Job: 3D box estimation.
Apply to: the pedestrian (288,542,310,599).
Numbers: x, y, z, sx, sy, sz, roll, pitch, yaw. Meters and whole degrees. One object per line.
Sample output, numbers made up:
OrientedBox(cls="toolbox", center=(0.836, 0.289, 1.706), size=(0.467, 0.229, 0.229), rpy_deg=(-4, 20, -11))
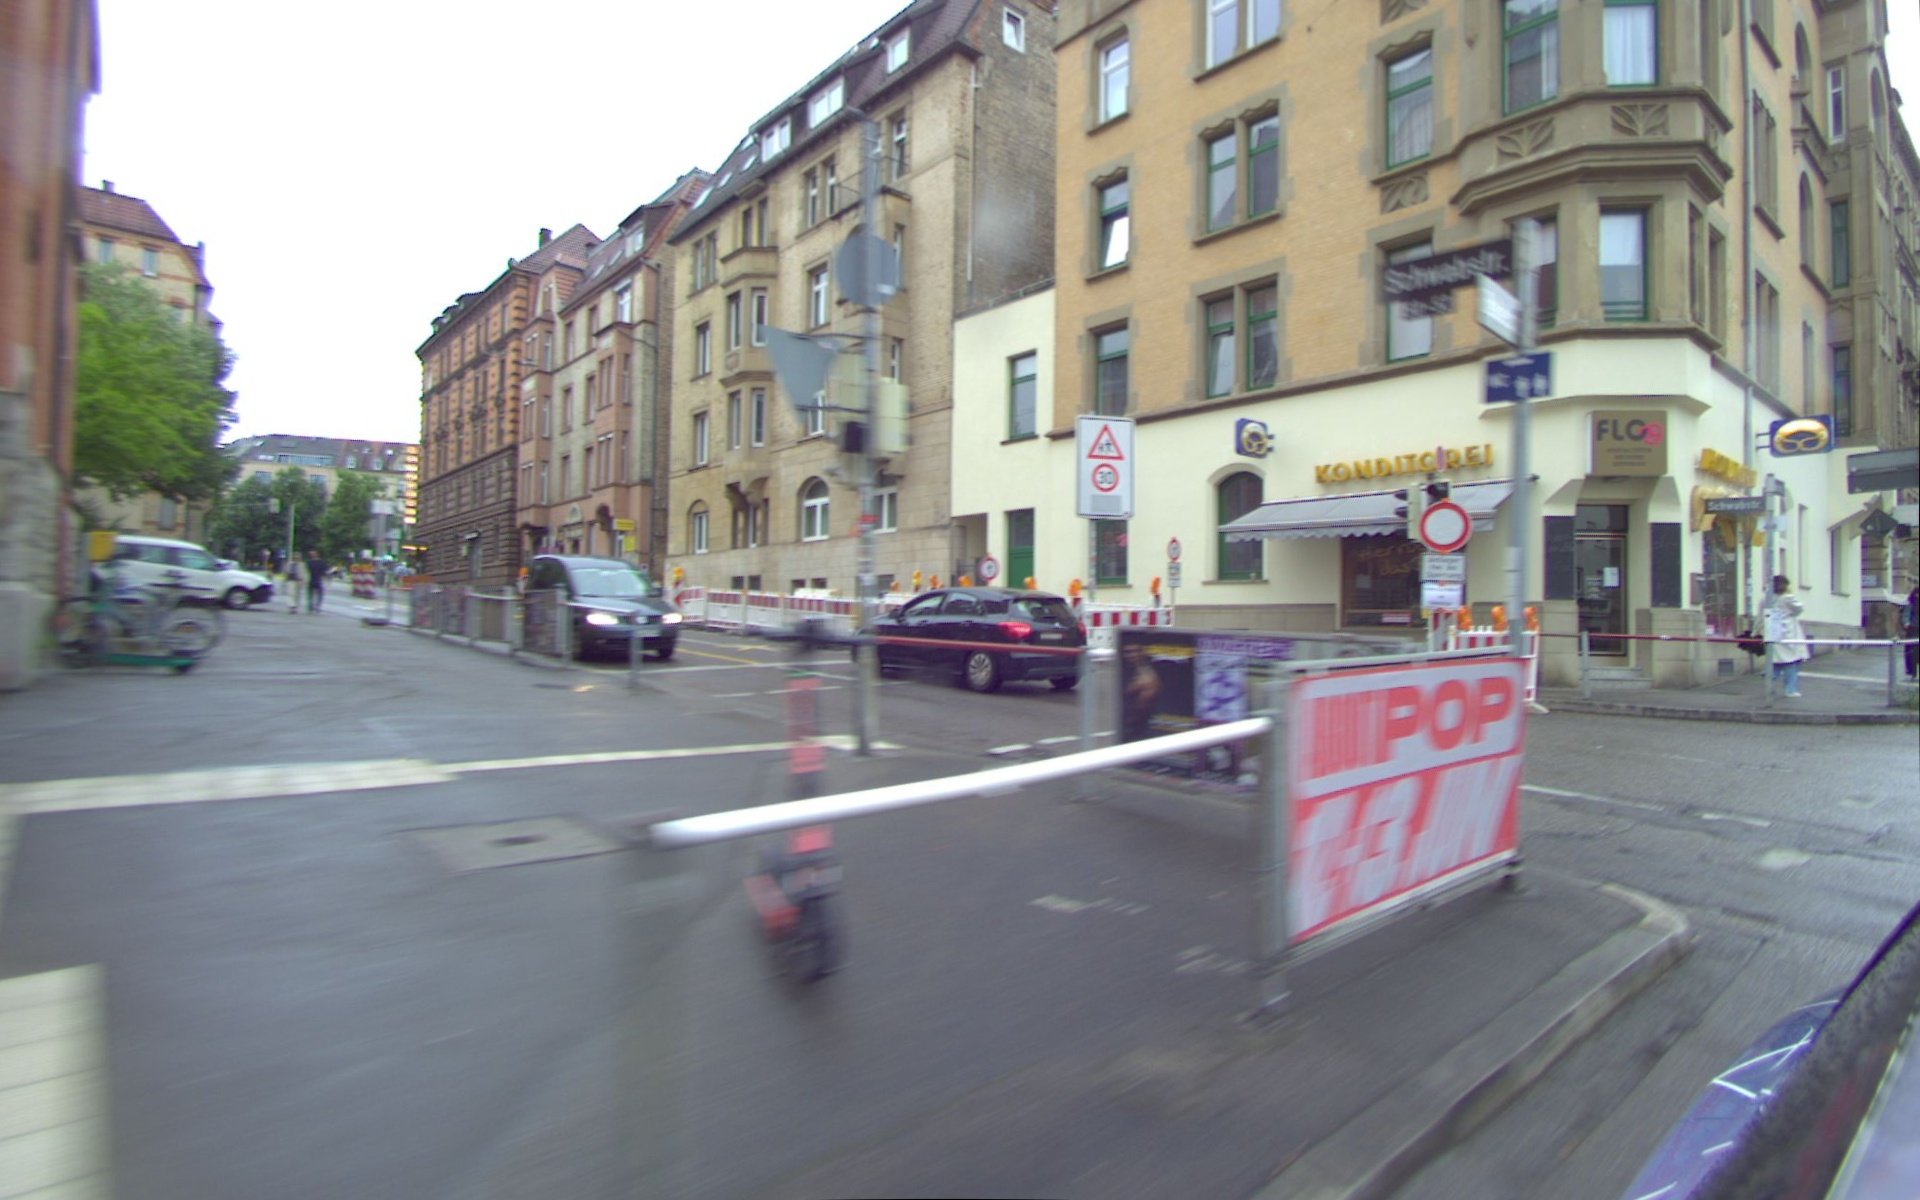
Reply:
OrientedBox(cls="pedestrian", center=(-19.397, -0.864, 29.681), size=(0.483, 1.640, 0.525), rpy_deg=(0, 0, -41))

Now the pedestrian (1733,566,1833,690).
OrientedBox(cls="pedestrian", center=(11.991, 0.391, 14.756), size=(0.767, 1.726, 0.995), rpy_deg=(-1, 0, -41))

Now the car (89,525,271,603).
OrientedBox(cls="car", center=(-21.977, -0.975, 28.589), size=(3.948, 2.039, 1.996), rpy_deg=(-1, 1, -43))

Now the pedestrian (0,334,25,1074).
OrientedBox(cls="pedestrian", center=(-3.172, 0.261, 2.629), size=(1.055, 1.911, 0.960), rpy_deg=(0, 2, -41))

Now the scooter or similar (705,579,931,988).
OrientedBox(cls="scooter or similar", center=(-0.597, 0.562, 3.854), size=(0.624, 1.266, 1.254), rpy_deg=(0, 2, -19))

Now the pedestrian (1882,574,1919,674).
OrientedBox(cls="pedestrian", center=(17.215, 0.424, 17.988), size=(0.914, 1.741, 1.019), rpy_deg=(-1, 4, -39))

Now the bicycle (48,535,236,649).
OrientedBox(cls="bicycle", center=(-9.774, -0.069, 12.140), size=(1.638, 1.217, 0.414), rpy_deg=(6, -1, -43))

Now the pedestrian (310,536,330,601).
OrientedBox(cls="pedestrian", center=(-19.014, -0.925, 30.051), size=(0.427, 1.922, 0.537), rpy_deg=(0, 0, -40))

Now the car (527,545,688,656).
OrientedBox(cls="car", center=(-6.498, -0.082, 18.398), size=(1.702, 1.717, 4.002), rpy_deg=(0, 4, -35))

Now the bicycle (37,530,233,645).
OrientedBox(cls="bicycle", center=(-10.452, -0.135, 12.883), size=(1.808, 1.260, 0.344), rpy_deg=(7, -2, -43))

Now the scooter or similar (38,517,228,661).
OrientedBox(cls="scooter or similar", center=(-8.831, -0.087, 10.864), size=(1.490, 1.437, 0.409), rpy_deg=(4, -2, -40))

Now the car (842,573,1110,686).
OrientedBox(cls="car", center=(0.105, 0.319, 14.952), size=(1.769, 1.392, 3.995), rpy_deg=(-1, 2, -41))

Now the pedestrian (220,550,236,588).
OrientedBox(cls="pedestrian", center=(-32.802, -1.409, 45.370), size=(0.522, 1.690, 0.546), rpy_deg=(0, 1, -44))
